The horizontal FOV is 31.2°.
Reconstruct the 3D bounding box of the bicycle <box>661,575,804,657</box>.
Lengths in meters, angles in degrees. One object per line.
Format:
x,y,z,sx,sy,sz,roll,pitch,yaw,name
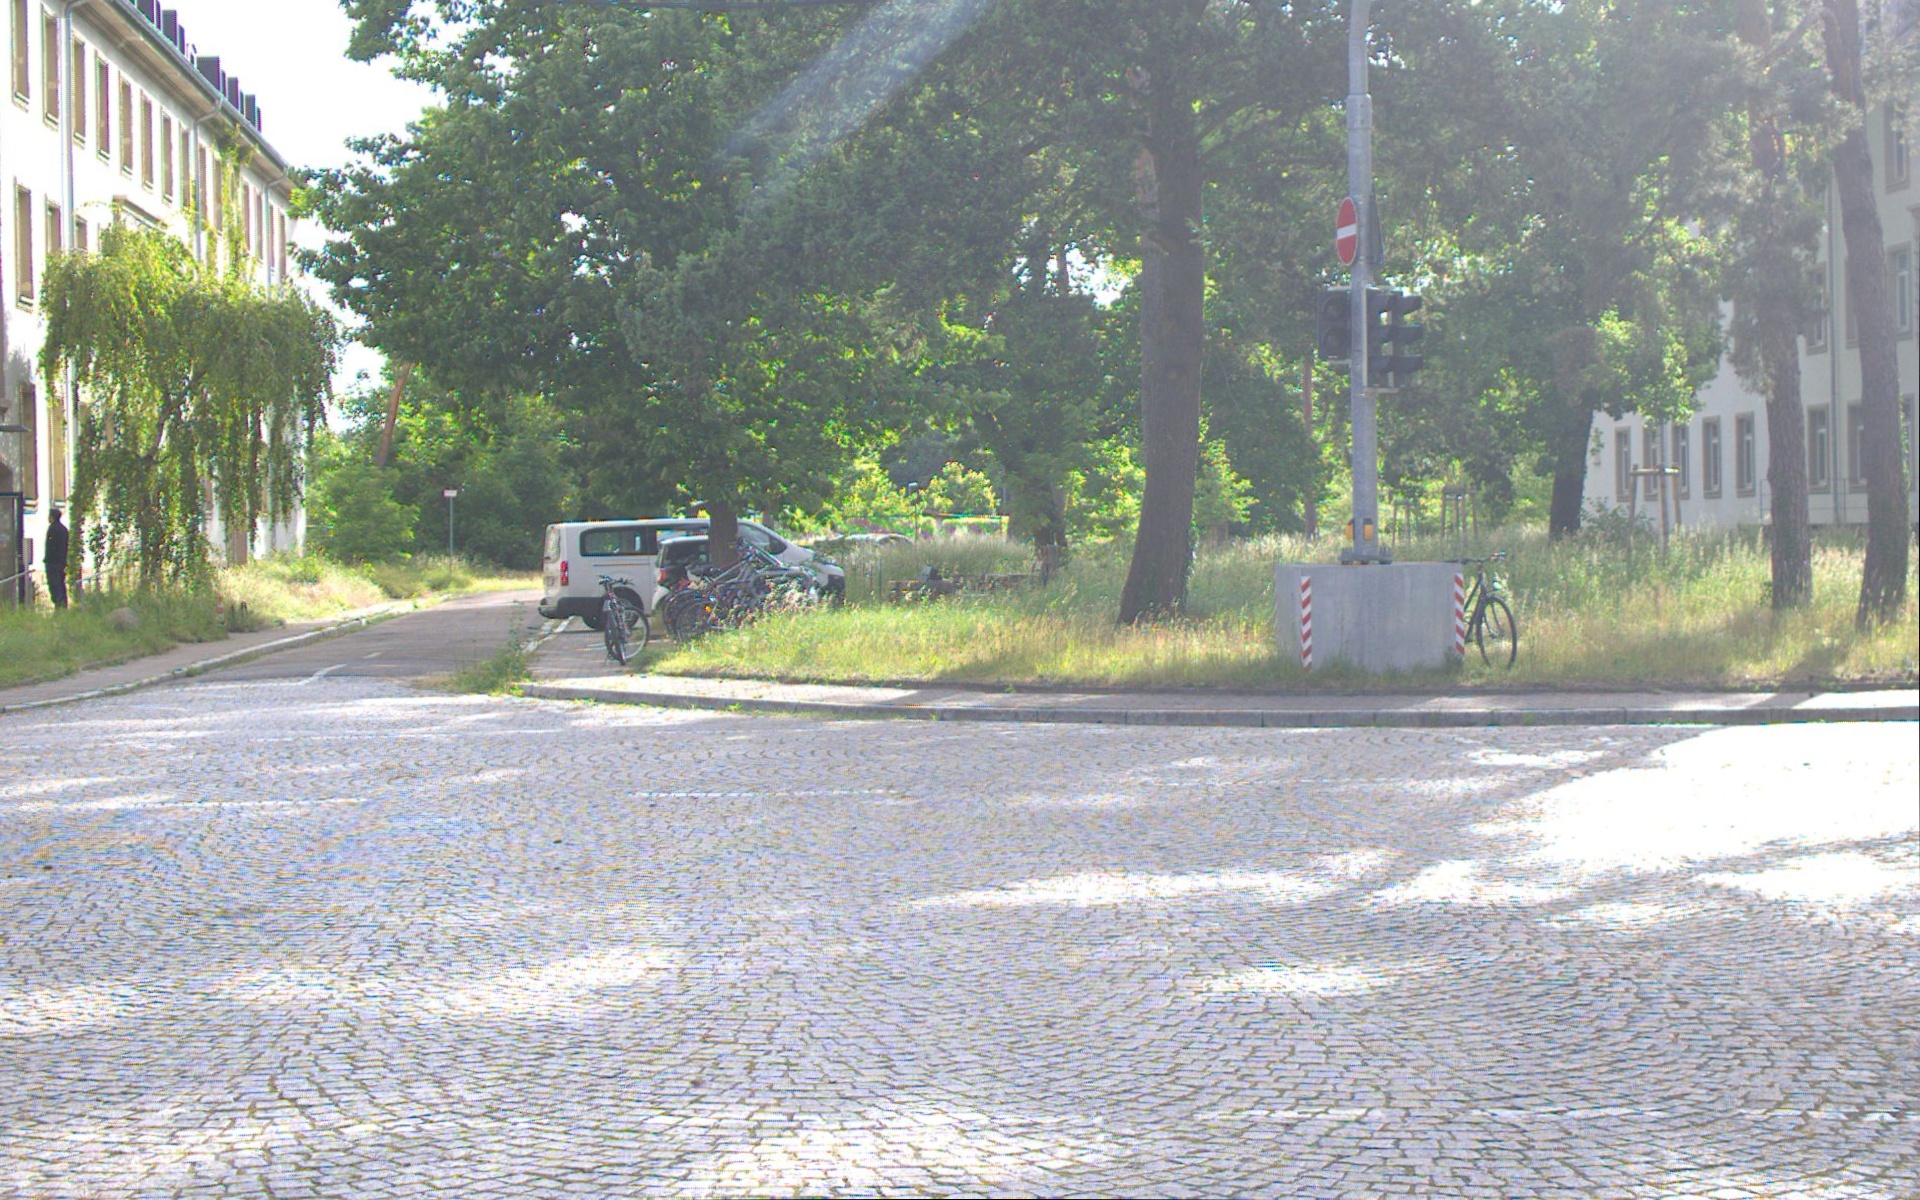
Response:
-2.931,0.200,44.249,1.792,0.995,0.644,-1,2,-6,bicycle

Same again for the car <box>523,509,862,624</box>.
-4.685,-0.599,60.091,5.499,1.909,2.255,-1,0,-19,car

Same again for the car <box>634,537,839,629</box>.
-3.693,-0.276,56.596,3.031,1.460,1.720,-1,0,-17,car

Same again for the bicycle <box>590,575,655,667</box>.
-3.974,0.237,40.559,0.728,0.995,1.799,-1,2,-5,bicycle

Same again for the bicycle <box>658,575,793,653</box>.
-3.195,0.182,46.758,1.792,0.995,0.644,-1,2,-6,bicycle

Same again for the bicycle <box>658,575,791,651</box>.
-3.255,0.175,47.494,1.792,0.995,0.644,-1,2,-6,bicycle

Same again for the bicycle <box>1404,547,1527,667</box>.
4.493,0.045,30.636,0.562,0.995,1.752,-1,2,-9,bicycle

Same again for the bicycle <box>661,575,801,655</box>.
-3.025,0.194,45.266,1.792,0.995,0.644,-1,2,-6,bicycle

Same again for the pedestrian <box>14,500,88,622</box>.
-14.710,-0.630,55.659,0.985,1.956,0.933,-1,0,-6,pedestrian
